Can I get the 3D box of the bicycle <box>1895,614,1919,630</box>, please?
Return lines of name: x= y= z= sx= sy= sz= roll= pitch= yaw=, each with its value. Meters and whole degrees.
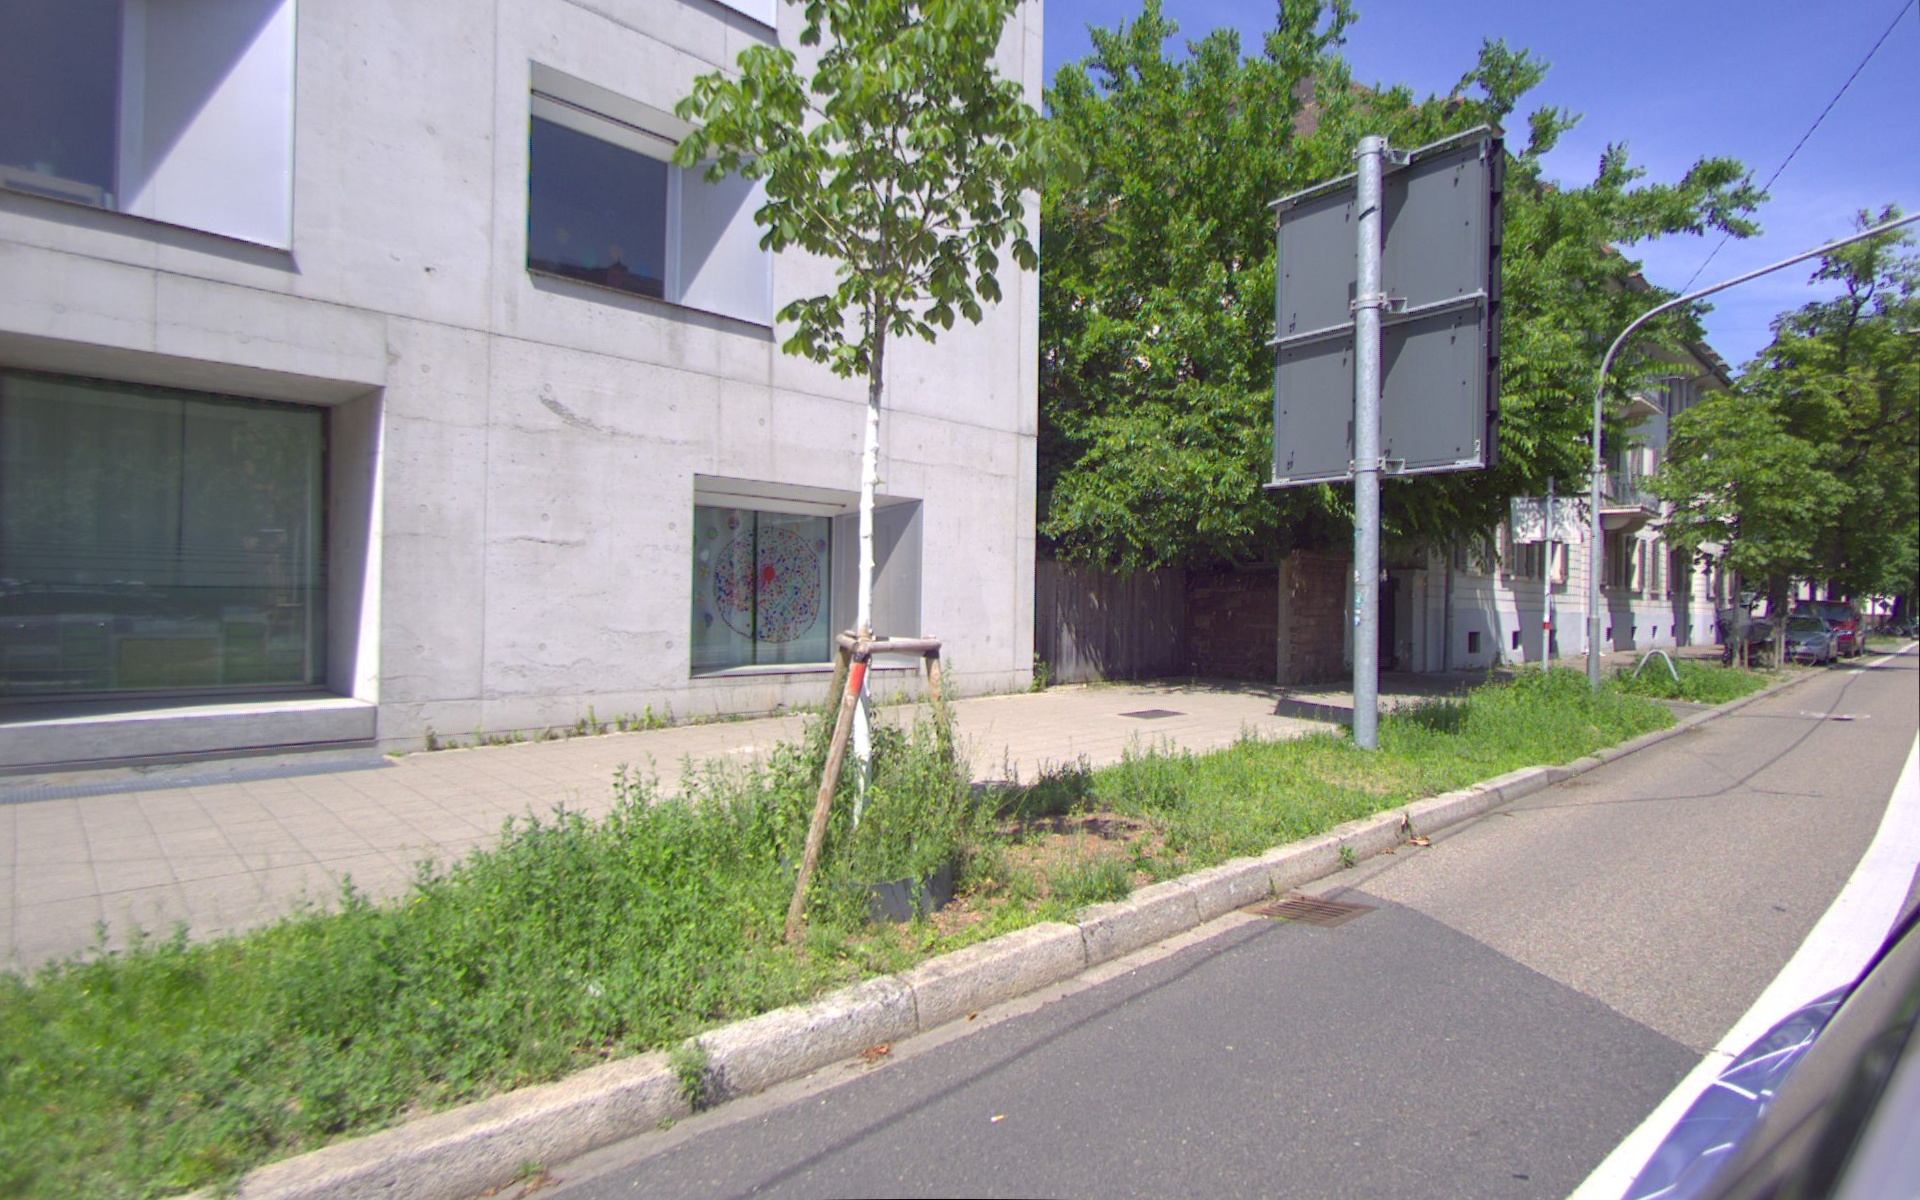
bicycle: x=65.879 y=1.550 z=70.388 sx=0.275 sy=1.077 sz=1.169 roll=-1 pitch=0 yaw=-41

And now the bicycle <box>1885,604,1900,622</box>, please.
bicycle: x=65.136 y=0.870 z=70.681 sx=0.281 sy=1.215 sz=1.614 roll=-1 pitch=0 yaw=25

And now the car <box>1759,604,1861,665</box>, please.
car: x=25.636 y=0.968 z=30.458 sx=4.797 sy=1.597 sz=1.861 roll=-1 pitch=0 yaw=-44

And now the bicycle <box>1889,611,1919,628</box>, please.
bicycle: x=69.192 y=1.428 z=73.838 sx=0.437 sy=1.215 sz=2.041 roll=1 pitch=0 yaw=-34

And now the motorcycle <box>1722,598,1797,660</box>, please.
motorcycle: x=20.499 y=0.727 z=25.923 sx=2.509 sy=1.525 sz=0.748 roll=0 pitch=0 yaw=-33

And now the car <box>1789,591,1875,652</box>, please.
car: x=31.376 y=0.711 z=36.354 sx=4.893 sy=2.039 sz=1.861 roll=-1 pitch=0 yaw=-44

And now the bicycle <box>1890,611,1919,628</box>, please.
bicycle: x=69.632 y=1.416 z=74.191 sx=0.437 sy=1.215 sz=2.041 roll=-1 pitch=0 yaw=-34

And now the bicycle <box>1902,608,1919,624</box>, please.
bicycle: x=75.854 y=1.273 z=80.250 sx=0.300 sy=1.215 sz=1.621 roll=-1 pitch=0 yaw=-42

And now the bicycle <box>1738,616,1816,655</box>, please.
bicycle: x=22.872 y=0.987 z=28.357 sx=0.365 sy=1.028 sz=1.659 roll=1 pitch=-1 yaw=-43

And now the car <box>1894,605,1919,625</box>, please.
car: x=72.415 y=1.130 z=77.161 sx=3.572 sy=1.470 sz=1.593 roll=1 pitch=1 yaw=-44
